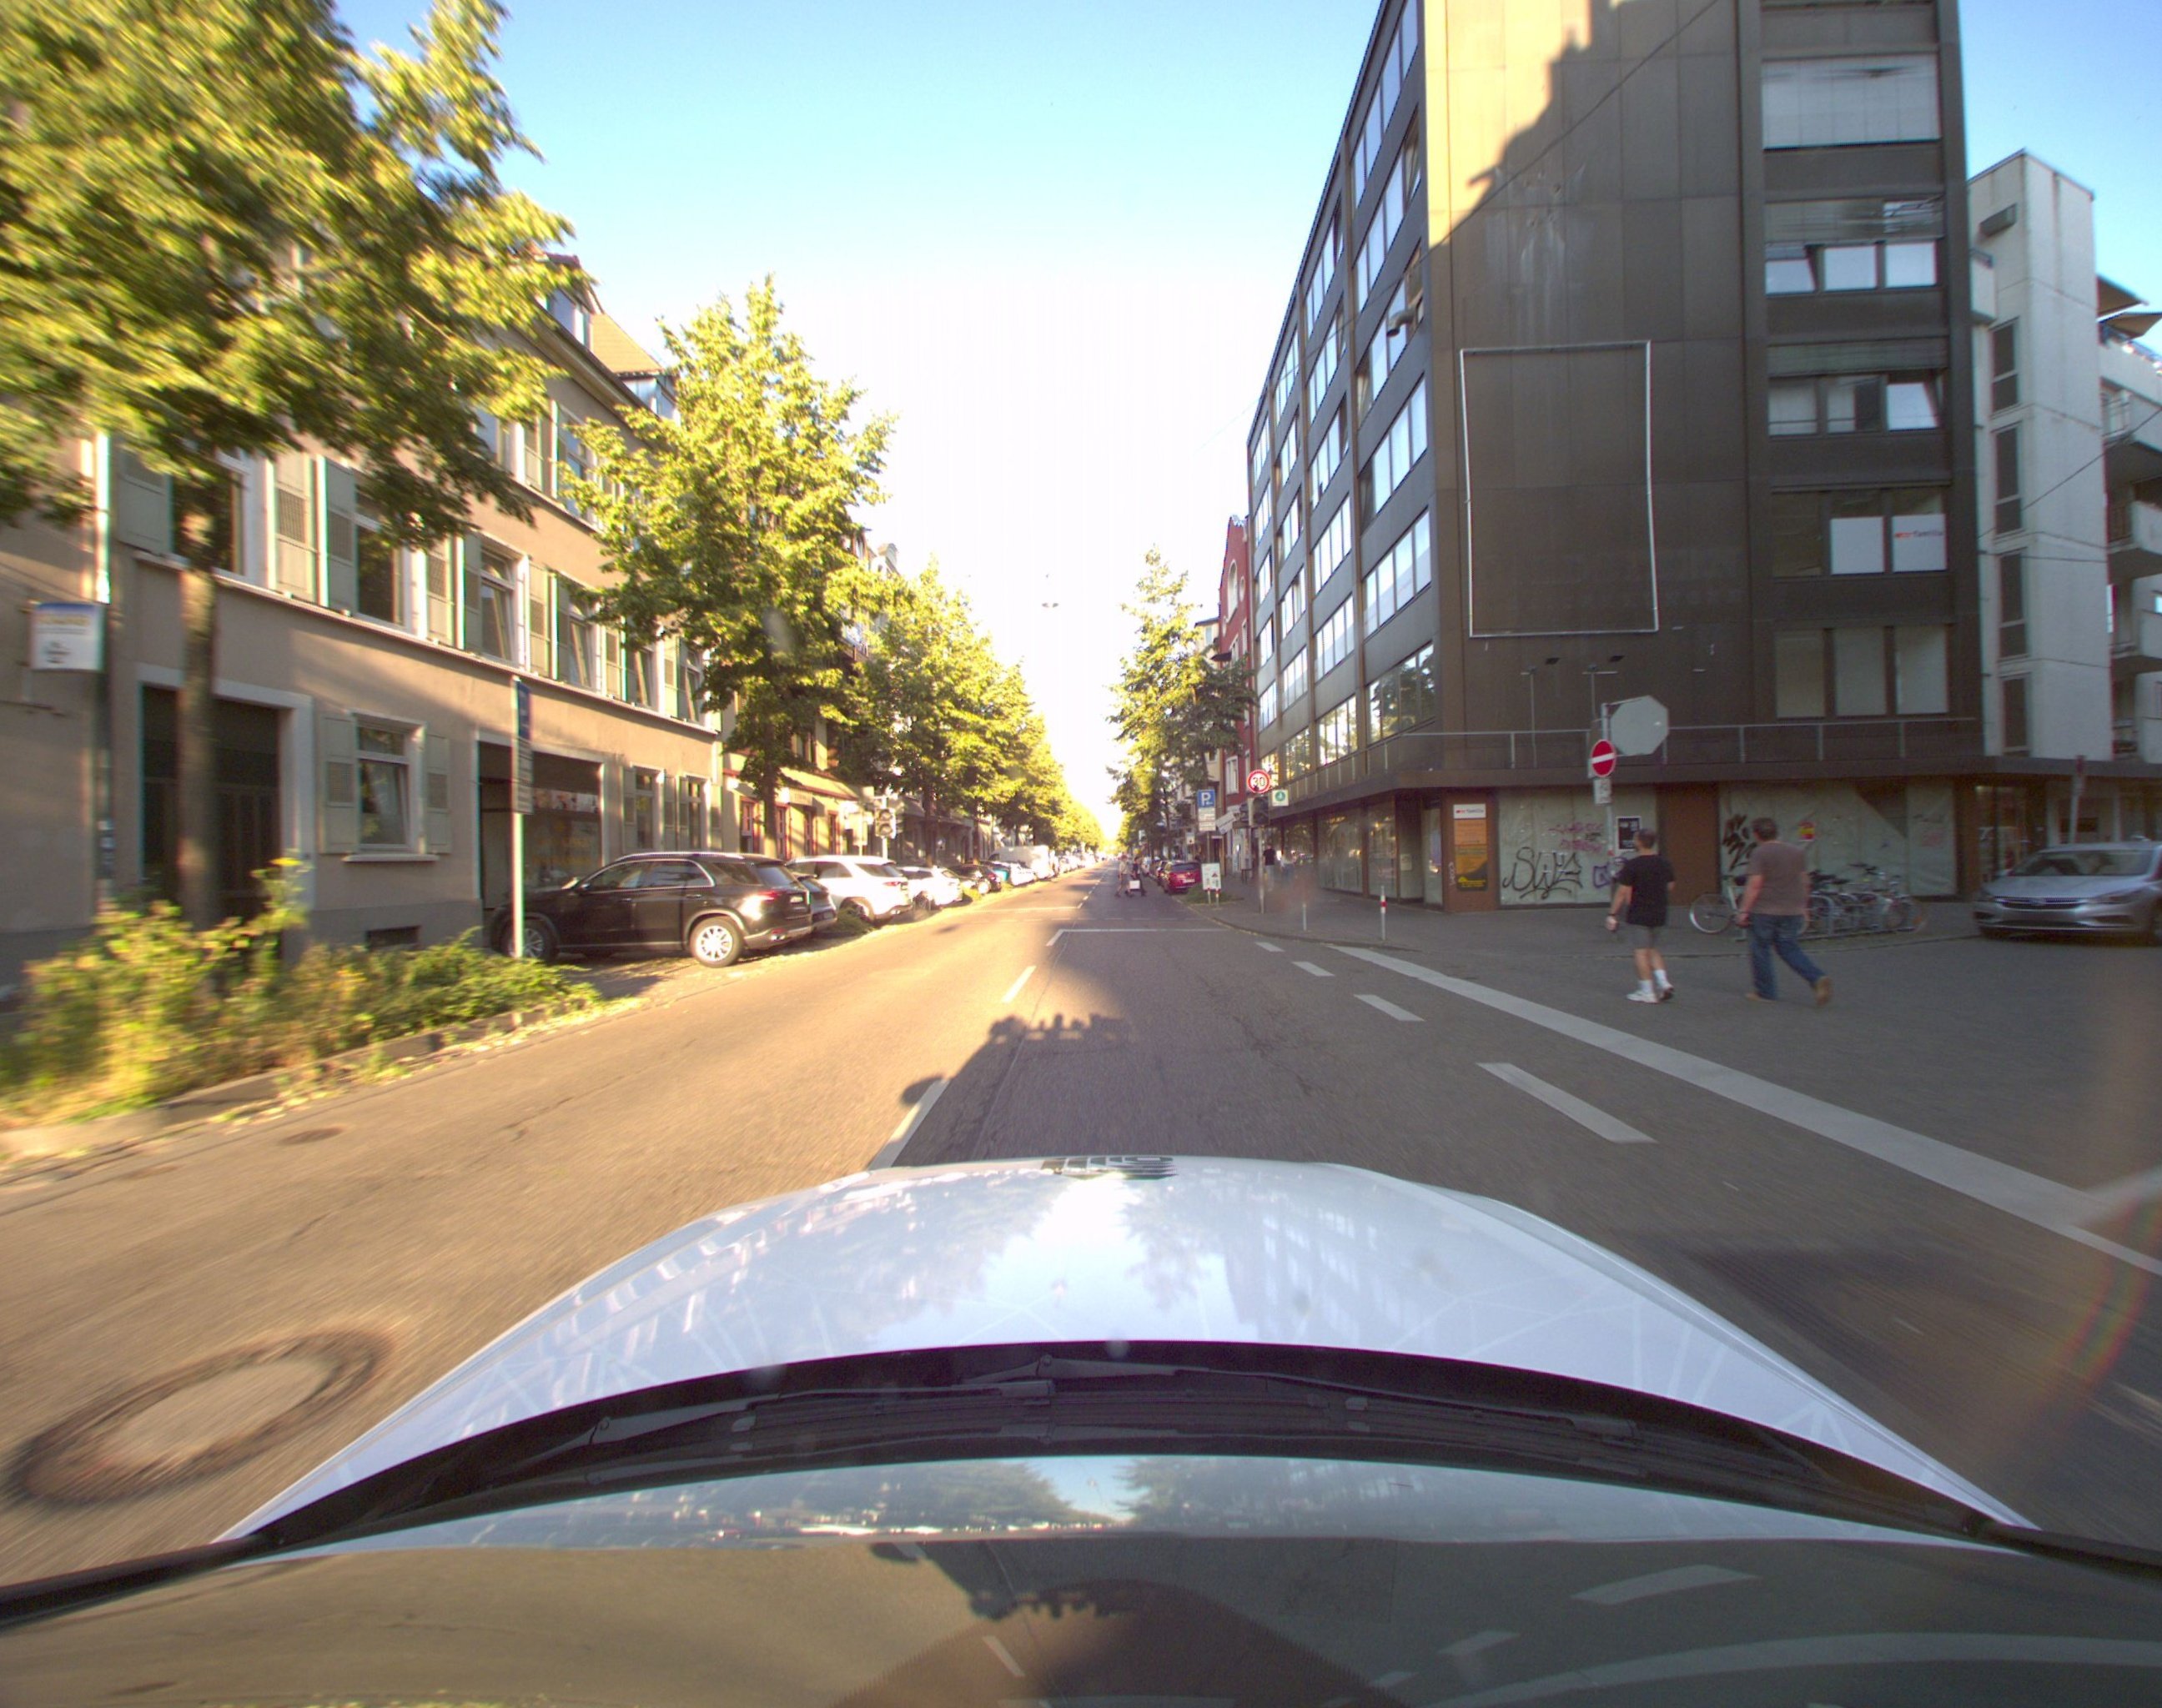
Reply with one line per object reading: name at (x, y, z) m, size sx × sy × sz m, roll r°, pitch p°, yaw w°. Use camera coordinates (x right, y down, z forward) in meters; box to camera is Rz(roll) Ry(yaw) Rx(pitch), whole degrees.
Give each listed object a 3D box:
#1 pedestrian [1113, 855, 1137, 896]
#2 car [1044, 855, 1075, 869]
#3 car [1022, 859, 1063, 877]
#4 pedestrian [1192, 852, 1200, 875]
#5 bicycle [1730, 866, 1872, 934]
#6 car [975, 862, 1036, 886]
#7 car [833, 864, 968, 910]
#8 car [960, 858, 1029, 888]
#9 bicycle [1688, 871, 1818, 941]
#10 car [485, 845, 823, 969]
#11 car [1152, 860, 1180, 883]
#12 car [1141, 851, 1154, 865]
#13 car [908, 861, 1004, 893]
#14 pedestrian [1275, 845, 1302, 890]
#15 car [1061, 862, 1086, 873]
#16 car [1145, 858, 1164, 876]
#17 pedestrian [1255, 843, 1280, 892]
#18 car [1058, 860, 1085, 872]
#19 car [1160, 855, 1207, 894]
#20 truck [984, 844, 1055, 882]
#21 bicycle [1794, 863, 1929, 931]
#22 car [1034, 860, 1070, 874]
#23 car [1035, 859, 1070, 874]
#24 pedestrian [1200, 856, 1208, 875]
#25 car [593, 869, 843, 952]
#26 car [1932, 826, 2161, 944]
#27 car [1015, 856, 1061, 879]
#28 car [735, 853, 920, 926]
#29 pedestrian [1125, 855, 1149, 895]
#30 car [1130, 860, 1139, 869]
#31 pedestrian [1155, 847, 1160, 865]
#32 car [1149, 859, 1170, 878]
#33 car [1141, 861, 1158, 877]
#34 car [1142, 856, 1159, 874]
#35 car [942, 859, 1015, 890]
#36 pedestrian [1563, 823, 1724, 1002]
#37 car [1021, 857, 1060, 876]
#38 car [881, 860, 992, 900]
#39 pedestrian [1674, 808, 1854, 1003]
pedestrian at (1.846, 0.894, 34.183) m, size 0.720 × 1.673 × 0.702 m, roll 0°, pitch 0°, yaw -38°
car at (-2.655, 0.967, 100.292) m, size 3.725 × 1.708 × 2.001 m, roll -1°, pitch 0°, yaw 1°
car at (-3.578, 1.326, 75.942) m, size 3.572 × 1.595 × 1.701 m, roll -1°, pitch -1°, yaw 1°
pedestrian at (8.000, 0.662, 56.593) m, size 0.531 × 1.622 × 0.534 m, roll -1°, pitch 0°, yaw 3°
bicycle at (12.016, 0.741, 13.665) m, size 0.416 × 1.038 × 1.761 m, roll -2°, pitch 0°, yaw -24°
car at (-4.894, 1.282, 53.272) m, size 3.725 × 1.450 × 2.001 m, roll -1°, pitch -1°, yaw 1°
car at (-6.185, 1.107, 28.221) m, size 4.159 × 1.507 × 2.001 m, roll 0°, pitch -1°, yaw 1°
car at (-5.066, 1.135, 48.134) m, size 3.725 × 1.596 × 2.000 m, roll -2°, pitch -3°, yaw 1°
bicycle at (10.800, 0.804, 13.163) m, size 0.415 × 1.030 × 1.681 m, roll -1°, pitch 0°, yaw -15°
car at (-6.797, 0.824, 13.353) m, size 4.432 × 1.835 × 2.034 m, roll -1°, pitch -1°, yaw 1°
car at (5.064, 1.049, 48.530) m, size 1.300 × 1.293 × 3.013 m, roll -2°, pitch -1°, yaw 0°
car at (7.746, 0.476, 94.885) m, size 1.305 × 1.600 × 2.660 m, roll -1°, pitch -1°, yaw 0°
car at (-6.159, 1.125, 40.537) m, size 4.410 × 1.503 × 2.001 m, roll -1°, pitch -1°, yaw 1°
pedestrian at (8.207, 0.526, 32.226) m, size 0.762 × 1.689 × 0.786 m, roll -3°, pitch 0°, yaw 0°
car at (-1.095, 2.071, 126.202) m, size 3.725 × 1.708 × 2.001 m, roll -1°, pitch 0°, yaw 1°
car at (5.533, 1.013, 61.669) m, size 1.202 × 1.300 × 2.660 m, roll -1°, pitch -1°, yaw 0°
pedestrian at (7.360, 0.520, 32.175) m, size 0.712 × 1.865 × 0.680 m, roll -3°, pitch 0°, yaw -1°
car at (-1.336, 1.705, 116.729) m, size 3.725 × 1.708 × 2.001 m, roll -1°, pitch 0°, yaw 1°
car at (4.544, 0.907, 36.523) m, size 1.571 × 1.543 × 3.396 m, roll -3°, pitch -1°, yaw 0°
truck at (-4.476, 0.690, 59.651) m, size 4.922 × 2.615 × 2.001 m, roll -1°, pitch -1°, yaw 1°
bicycle at (13.401, 0.703, 14.053) m, size 0.415 × 1.094 × 1.680 m, roll 0°, pitch 0°, yaw -18°
car at (-3.125, 1.390, 87.740) m, size 3.725 × 1.450 × 2.001 m, roll -1°, pitch -1°, yaw 1°
car at (-3.231, 1.409, 92.594) m, size 3.725 × 1.493 × 2.001 m, roll -1°, pitch -1°, yaw 1°
pedestrian at (8.635, 0.802, 57.098) m, size 0.531 × 1.360 × 0.534 m, roll -1°, pitch 0°, yaw 3°
car at (-6.918, 1.050, 15.820) m, size 4.017 × 1.444 × 1.832 m, roll -1°, pitch 0°, yaw 1°
car at (15.623, 0.400, 12.613) m, size 4.255 × 1.581 × 1.985 m, roll 0°, pitch 0°, yaw -23°
car at (-3.639, 1.186, 69.924) m, size 3.725 × 1.859 × 2.001 m, roll -1°, pitch -1°, yaw 1°
car at (-6.177, 0.842, 20.167) m, size 3.974 × 1.708 × 1.834 m, roll -1°, pitch 0°, yaw 1°
pedestrian at (2.417, 0.889, 35.062) m, size 0.727 × 1.683 × 0.749 m, roll 1°, pitch -1°, yaw -38°
car at (9.263, 1.863, 141.169) m, size 1.305 × 1.600 × 2.660 m, roll -1°, pitch -1°, yaw 0°
pedestrian at (8.796, 0.257, 93.590) m, size 0.447 × 2.014 × 0.424 m, roll -1°, pitch 0°, yaw 1°
car at (5.616, 1.044, 58.375) m, size 1.202 × 1.300 × 2.660 m, roll -1°, pitch -1°, yaw 0°
car at (5.730, 1.247, 68.623) m, size 1.202 × 1.300 × 2.660 m, roll -1°, pitch -1°, yaw 0°
car at (6.483, 1.022, 75.851) m, size 1.305 × 1.600 × 2.660 m, roll -1°, pitch -1°, yaw 0°
car at (-5.683, 1.127, 45.563) m, size 3.725 × 1.642 × 2.001 m, roll -1°, pitch 0°, yaw 1°
pedestrian at (5.547, 0.542, 8.121) m, size 0.752 × 1.640 × 1.259 m, roll -1°, pitch 0°, yaw 2°
car at (-3.991, 1.230, 80.687) m, size 3.725 × 1.708 × 2.001 m, roll -1°, pitch -1°, yaw 1°
car at (-6.270, 1.122, 35.736) m, size 4.410 × 1.599 × 2.001 m, roll -1°, pitch -1°, yaw 1°
pedestrian at (6.663, 0.466, 8.023) m, size 0.752 × 1.767 × 1.222 m, roll -1°, pitch 0°, yaw 2°
